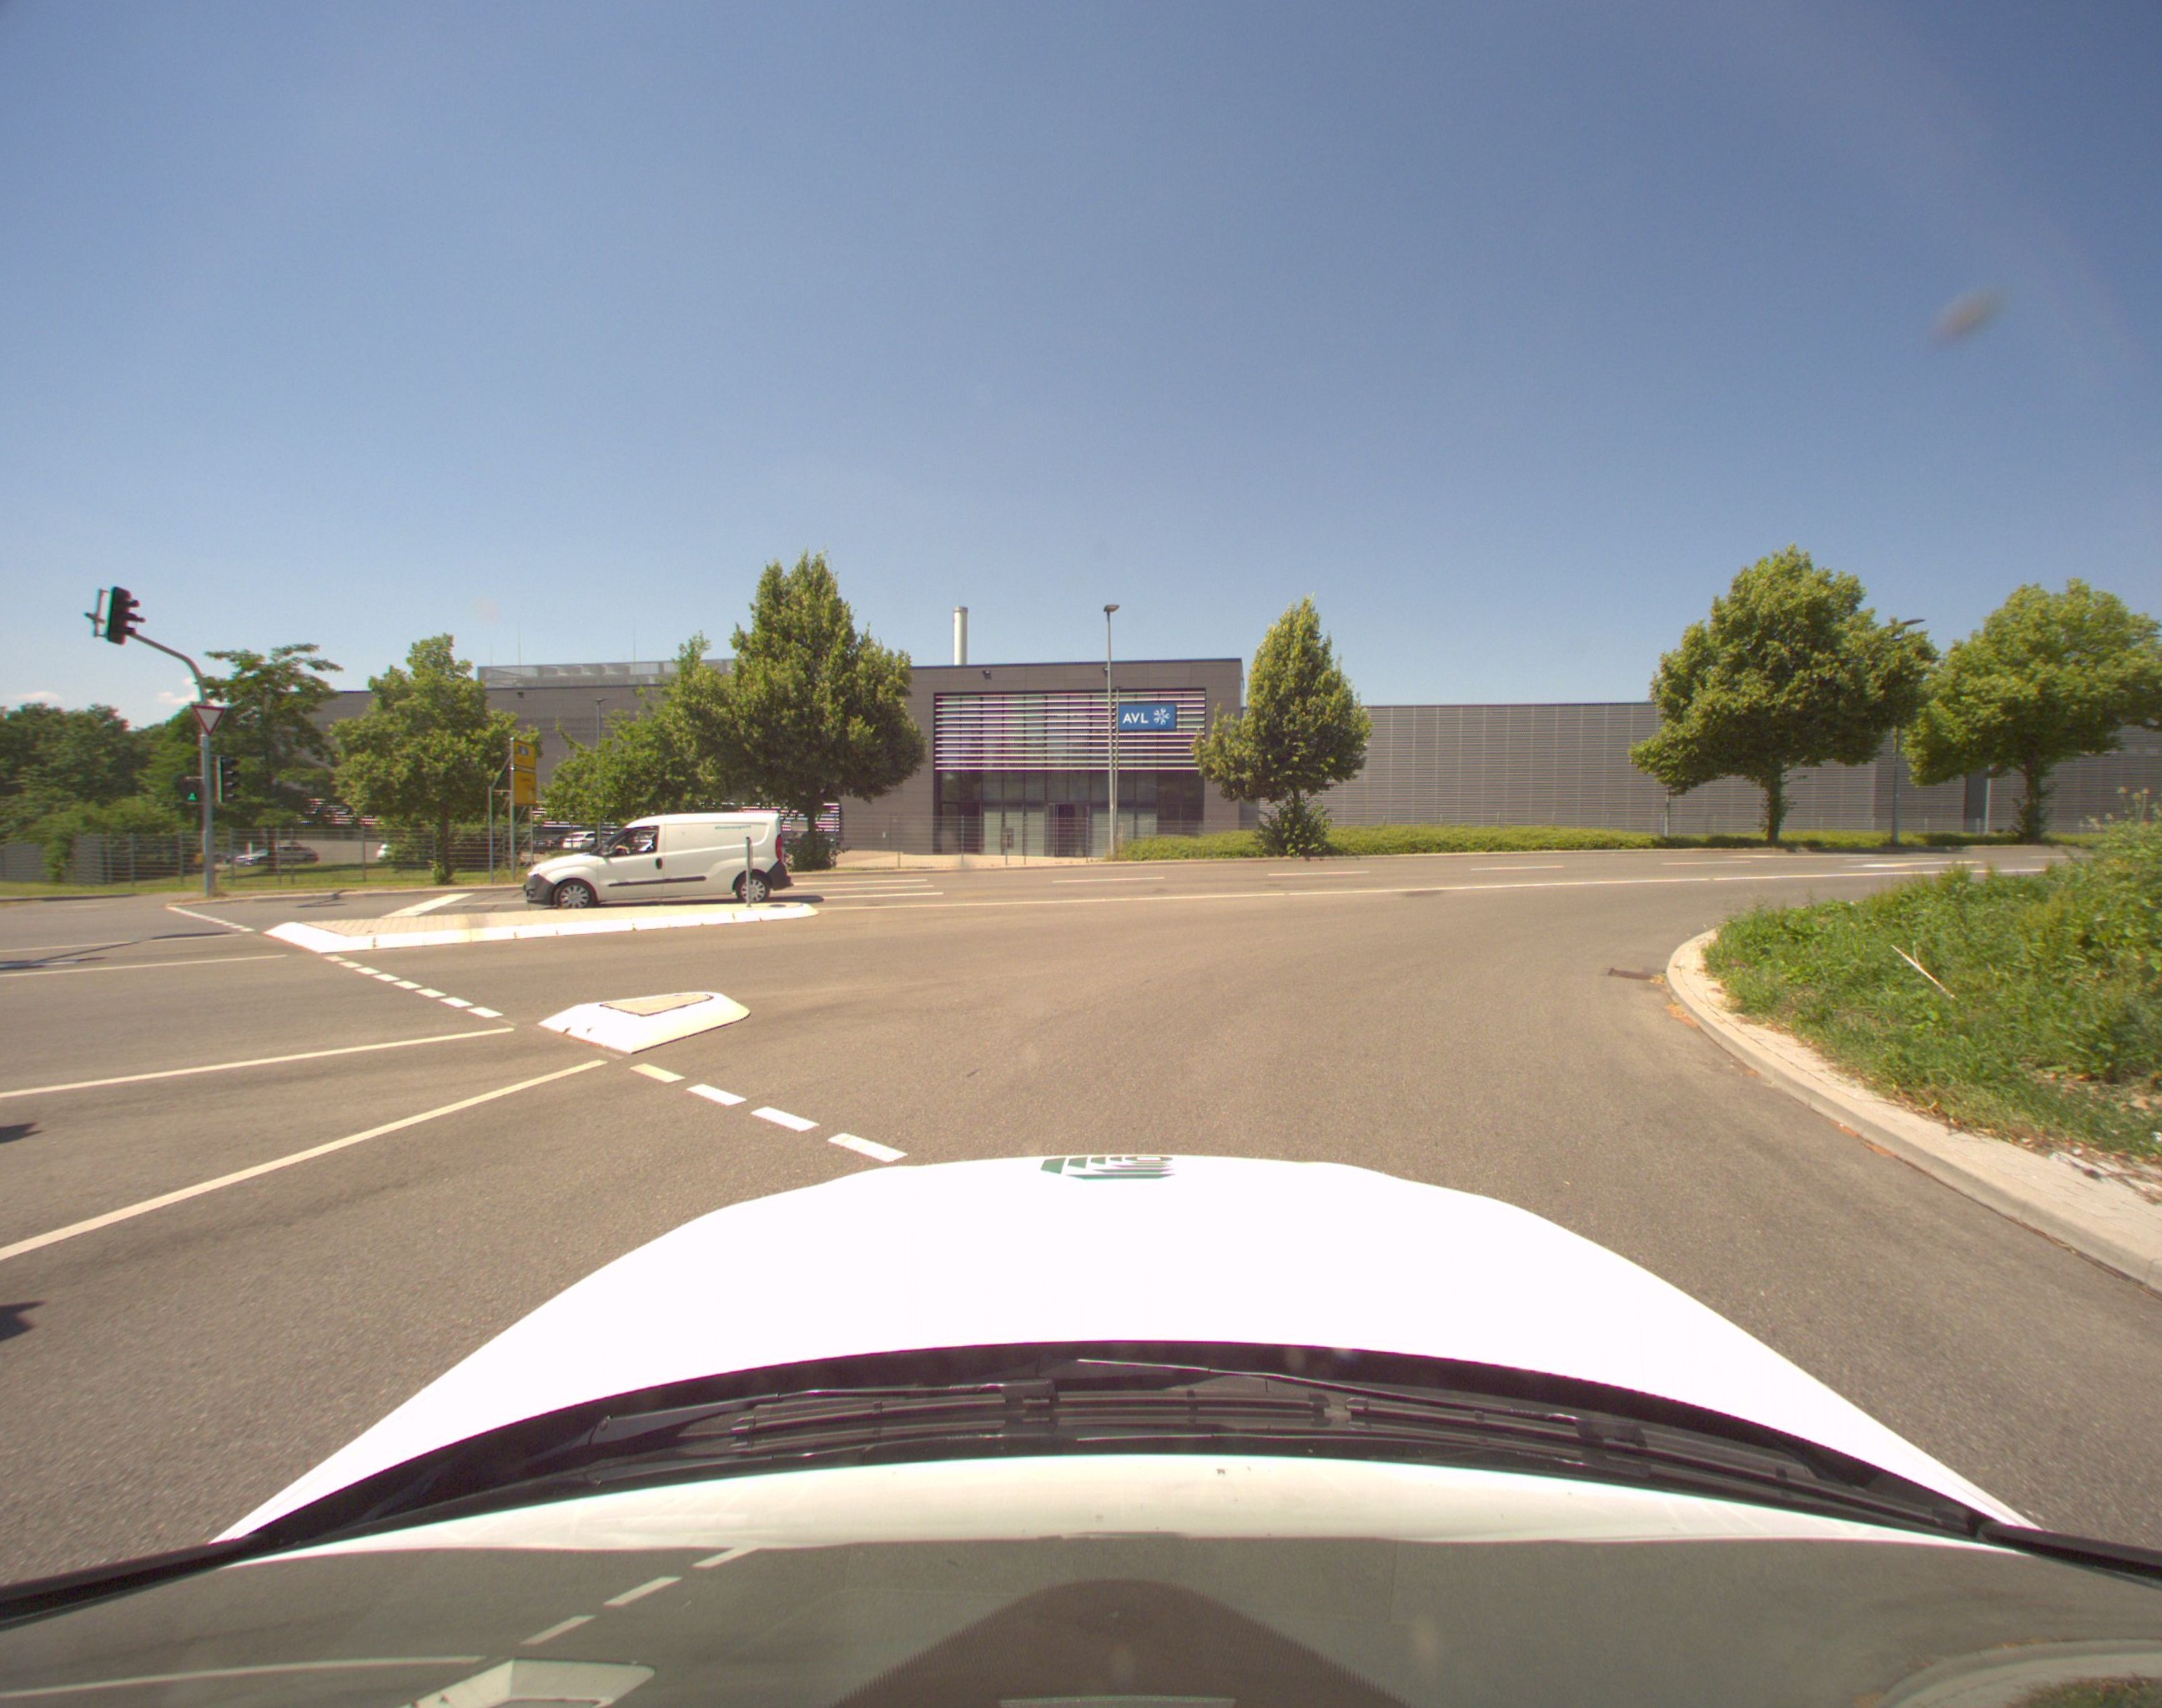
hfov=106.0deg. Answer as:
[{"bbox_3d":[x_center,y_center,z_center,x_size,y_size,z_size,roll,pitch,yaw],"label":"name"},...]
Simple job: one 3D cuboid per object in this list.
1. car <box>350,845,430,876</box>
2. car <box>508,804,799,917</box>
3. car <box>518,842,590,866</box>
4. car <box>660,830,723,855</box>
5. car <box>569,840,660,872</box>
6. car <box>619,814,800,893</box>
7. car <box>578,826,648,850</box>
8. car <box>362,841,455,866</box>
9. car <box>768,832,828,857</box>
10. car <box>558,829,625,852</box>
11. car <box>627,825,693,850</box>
[{"bbox_3d":[-49.754,0.458,58.771,1.982,2.013,4.009,-2,1,8],"label":"car"},{"bbox_3d":[-8.276,0.045,16.350,4.874,1.941,1.987,-1,6,-22],"label":"car"},{"bbox_3d":[-36.436,-0.040,56.407,1.982,1.486,4.009,-2,1,8],"label":"car"},{"bbox_3d":[-25.985,-0.787,54.421,1.804,1.528,4.009,-2,1,8],"label":"car"},{"bbox_3d":[-24.152,0.055,42.341,1.982,1.486,4.009,-2,1,8],"label":"car"},{"bbox_3d":[-9.048,-0.070,20.142,3.867,1.706,1.987,-1,6,-22],"label":"car"},{"bbox_3d":[-31.542,-1.079,55.035,1.982,1.486,4.009,-2,1,8],"label":"car"},{"bbox_3d":[-35.942,-0.048,43.620,1.601,1.165,3.643,-2,1,8],"label":"car"},{"bbox_3d":[-18.368,-0.634,53.053,1.982,1.486,4.009,-2,1,8],"label":"car"},{"bbox_3d":[-33.550,-0.965,55.970,1.756,1.460,4.009,-2,1,8],"label":"car"},{"bbox_3d":[-28.389,-1.156,55.048,1.903,1.516,4.010,-2,2,8],"label":"car"}]
